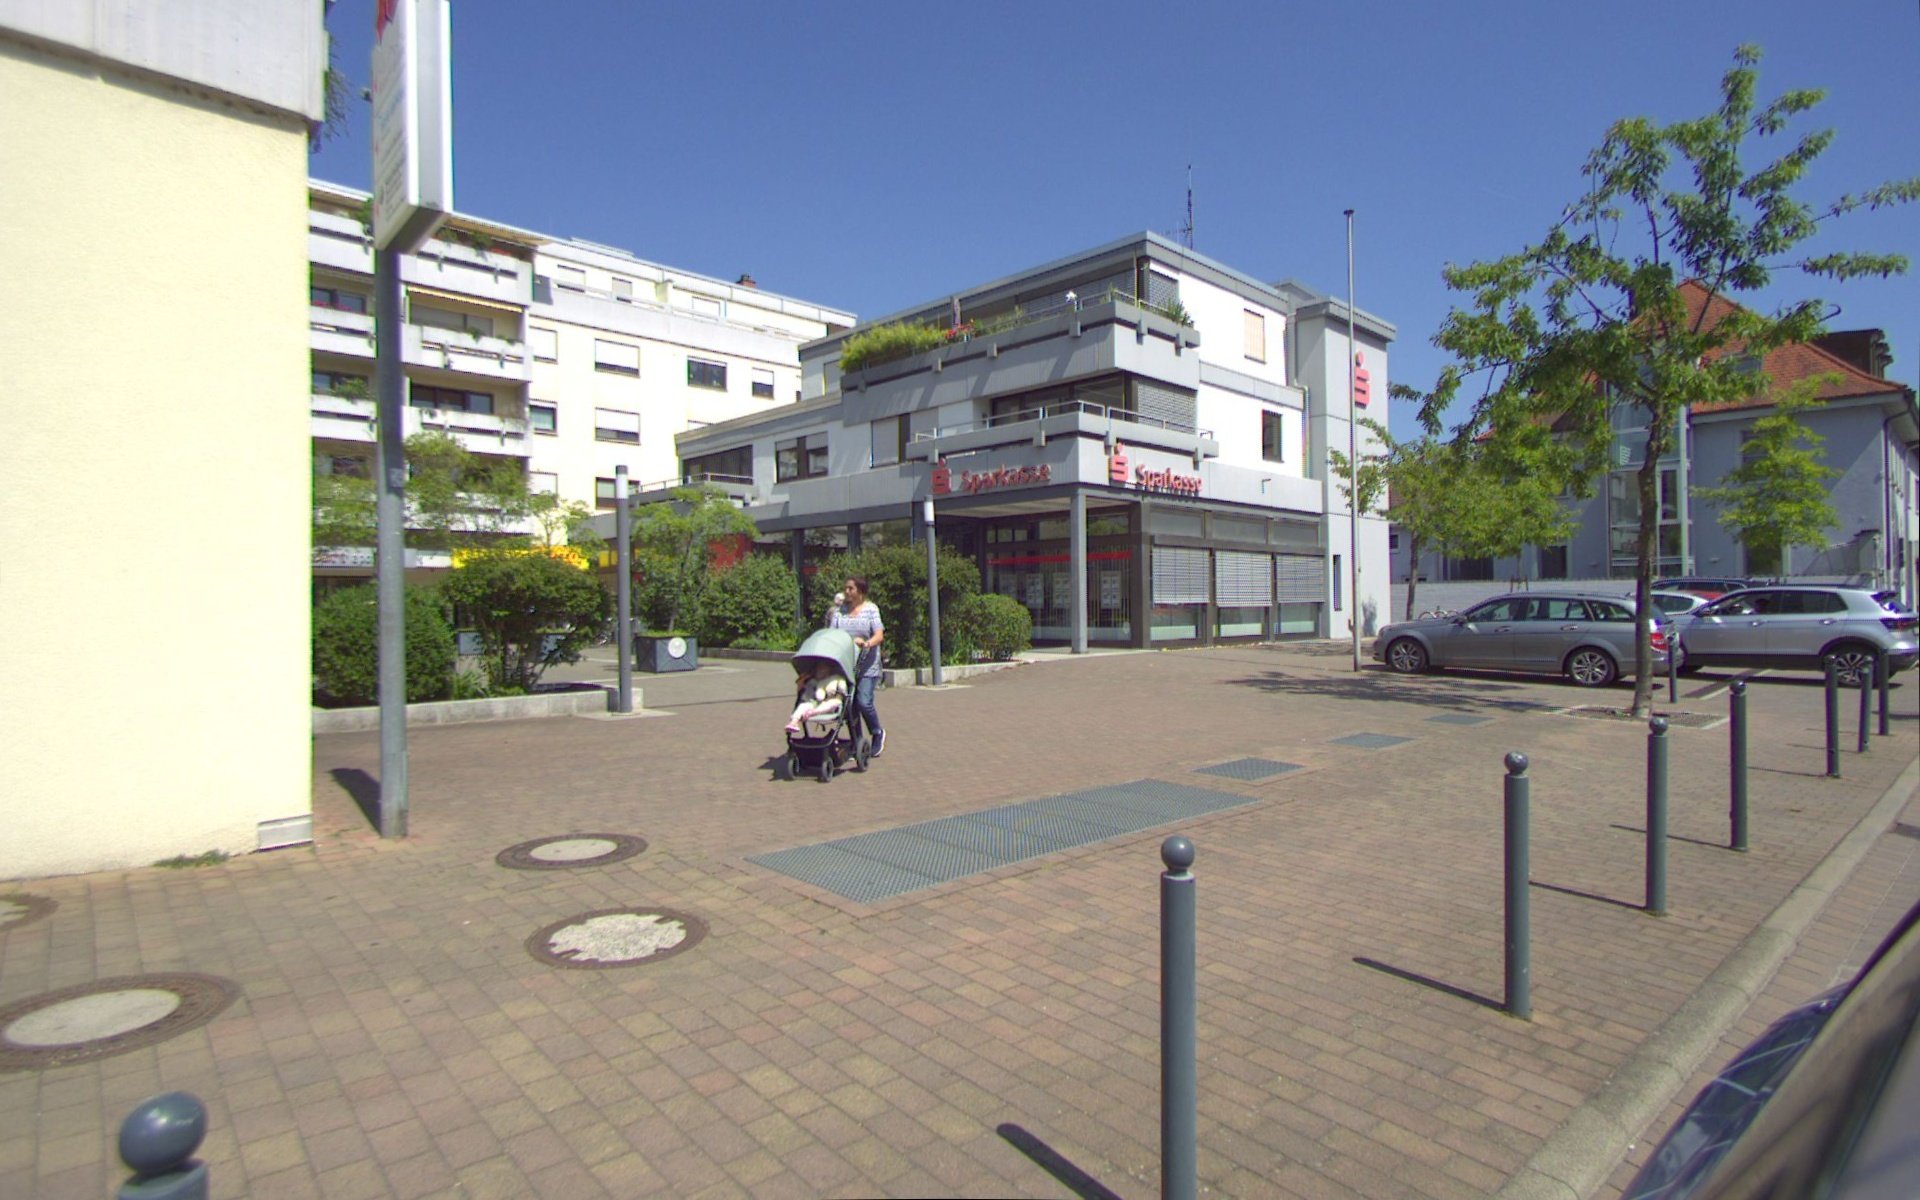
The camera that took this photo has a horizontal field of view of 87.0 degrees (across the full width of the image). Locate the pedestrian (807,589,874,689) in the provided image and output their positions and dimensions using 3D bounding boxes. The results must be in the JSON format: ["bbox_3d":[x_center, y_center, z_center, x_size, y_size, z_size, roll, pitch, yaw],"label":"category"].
[{"bbox_3d":[-1.858,0.592,15.763,0.808,1.516,0.659,-2,-1,43],"label":"pedestrian"}]

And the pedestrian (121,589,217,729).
[{"bbox_3d":[-8.953,0.644,11.489,0.606,1.516,0.813,-1,0,-17],"label":"pedestrian"}]

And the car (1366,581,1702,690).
[{"bbox_3d":[9.423,0.472,16.874,4.575,1.531,1.887,2,2,43],"label":"car"}]

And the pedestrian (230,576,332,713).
[{"bbox_3d":[-9.020,0.570,13.470,0.693,1.758,0.899,-1,0,11],"label":"pedestrian"}]

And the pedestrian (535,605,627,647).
[{"bbox_3d":[-12.527,0.824,33.503,0.982,1.290,2.736,-1,0,40],"label":"pedestrian"}]

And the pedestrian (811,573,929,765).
[{"bbox_3d":[-0.752,0.557,8.602,0.698,1.541,0.795,-1,-1,23],"label":"pedestrian"}]

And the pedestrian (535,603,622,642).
[{"bbox_3d":[-13.293,0.764,35.356,0.982,1.290,2.736,-1,0,40],"label":"pedestrian"}]

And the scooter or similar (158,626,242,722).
[{"bbox_3d":[-9.179,0.874,12.249,0.578,1.088,0.807,-1,0,-17],"label":"scooter or similar"}]

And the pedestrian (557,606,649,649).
[{"bbox_3d":[-11.595,0.867,32.963,0.982,1.290,2.736,-1,0,40],"label":"pedestrian"}]

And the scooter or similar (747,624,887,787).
[{"bbox_3d":[-1.074,0.762,7.772,0.621,1.120,1.035,-1,0,23],"label":"scooter or similar"}]

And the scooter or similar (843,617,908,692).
[{"bbox_3d":[-1.278,0.801,15.223,0.802,1.088,0.582,-1,-1,42],"label":"scooter or similar"}]

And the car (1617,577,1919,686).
[{"bbox_3d":[13.522,0.422,16.850,1.824,1.593,3.995,-1,1,-40],"label":"car"}]

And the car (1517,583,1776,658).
[{"bbox_3d":[15.156,0.376,22.510,4.535,1.458,1.811,2,1,43],"label":"car"}]

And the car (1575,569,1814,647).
[{"bbox_3d":[18.640,0.131,25.835,2.112,1.793,4.635,0,1,-43],"label":"car"}]

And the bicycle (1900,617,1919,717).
[{"bbox_3d":[11.852,0.767,11.409,1.860,1.123,0.676,0,0,0],"label":"bicycle"}]

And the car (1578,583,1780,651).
[{"bbox_3d":[17.115,0.345,24.177,3.729,1.470,1.718,2,1,43],"label":"car"}]

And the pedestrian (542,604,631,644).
[{"bbox_3d":[-12.776,0.795,34.682,0.982,1.290,2.736,-1,0,40],"label":"pedestrian"}]
